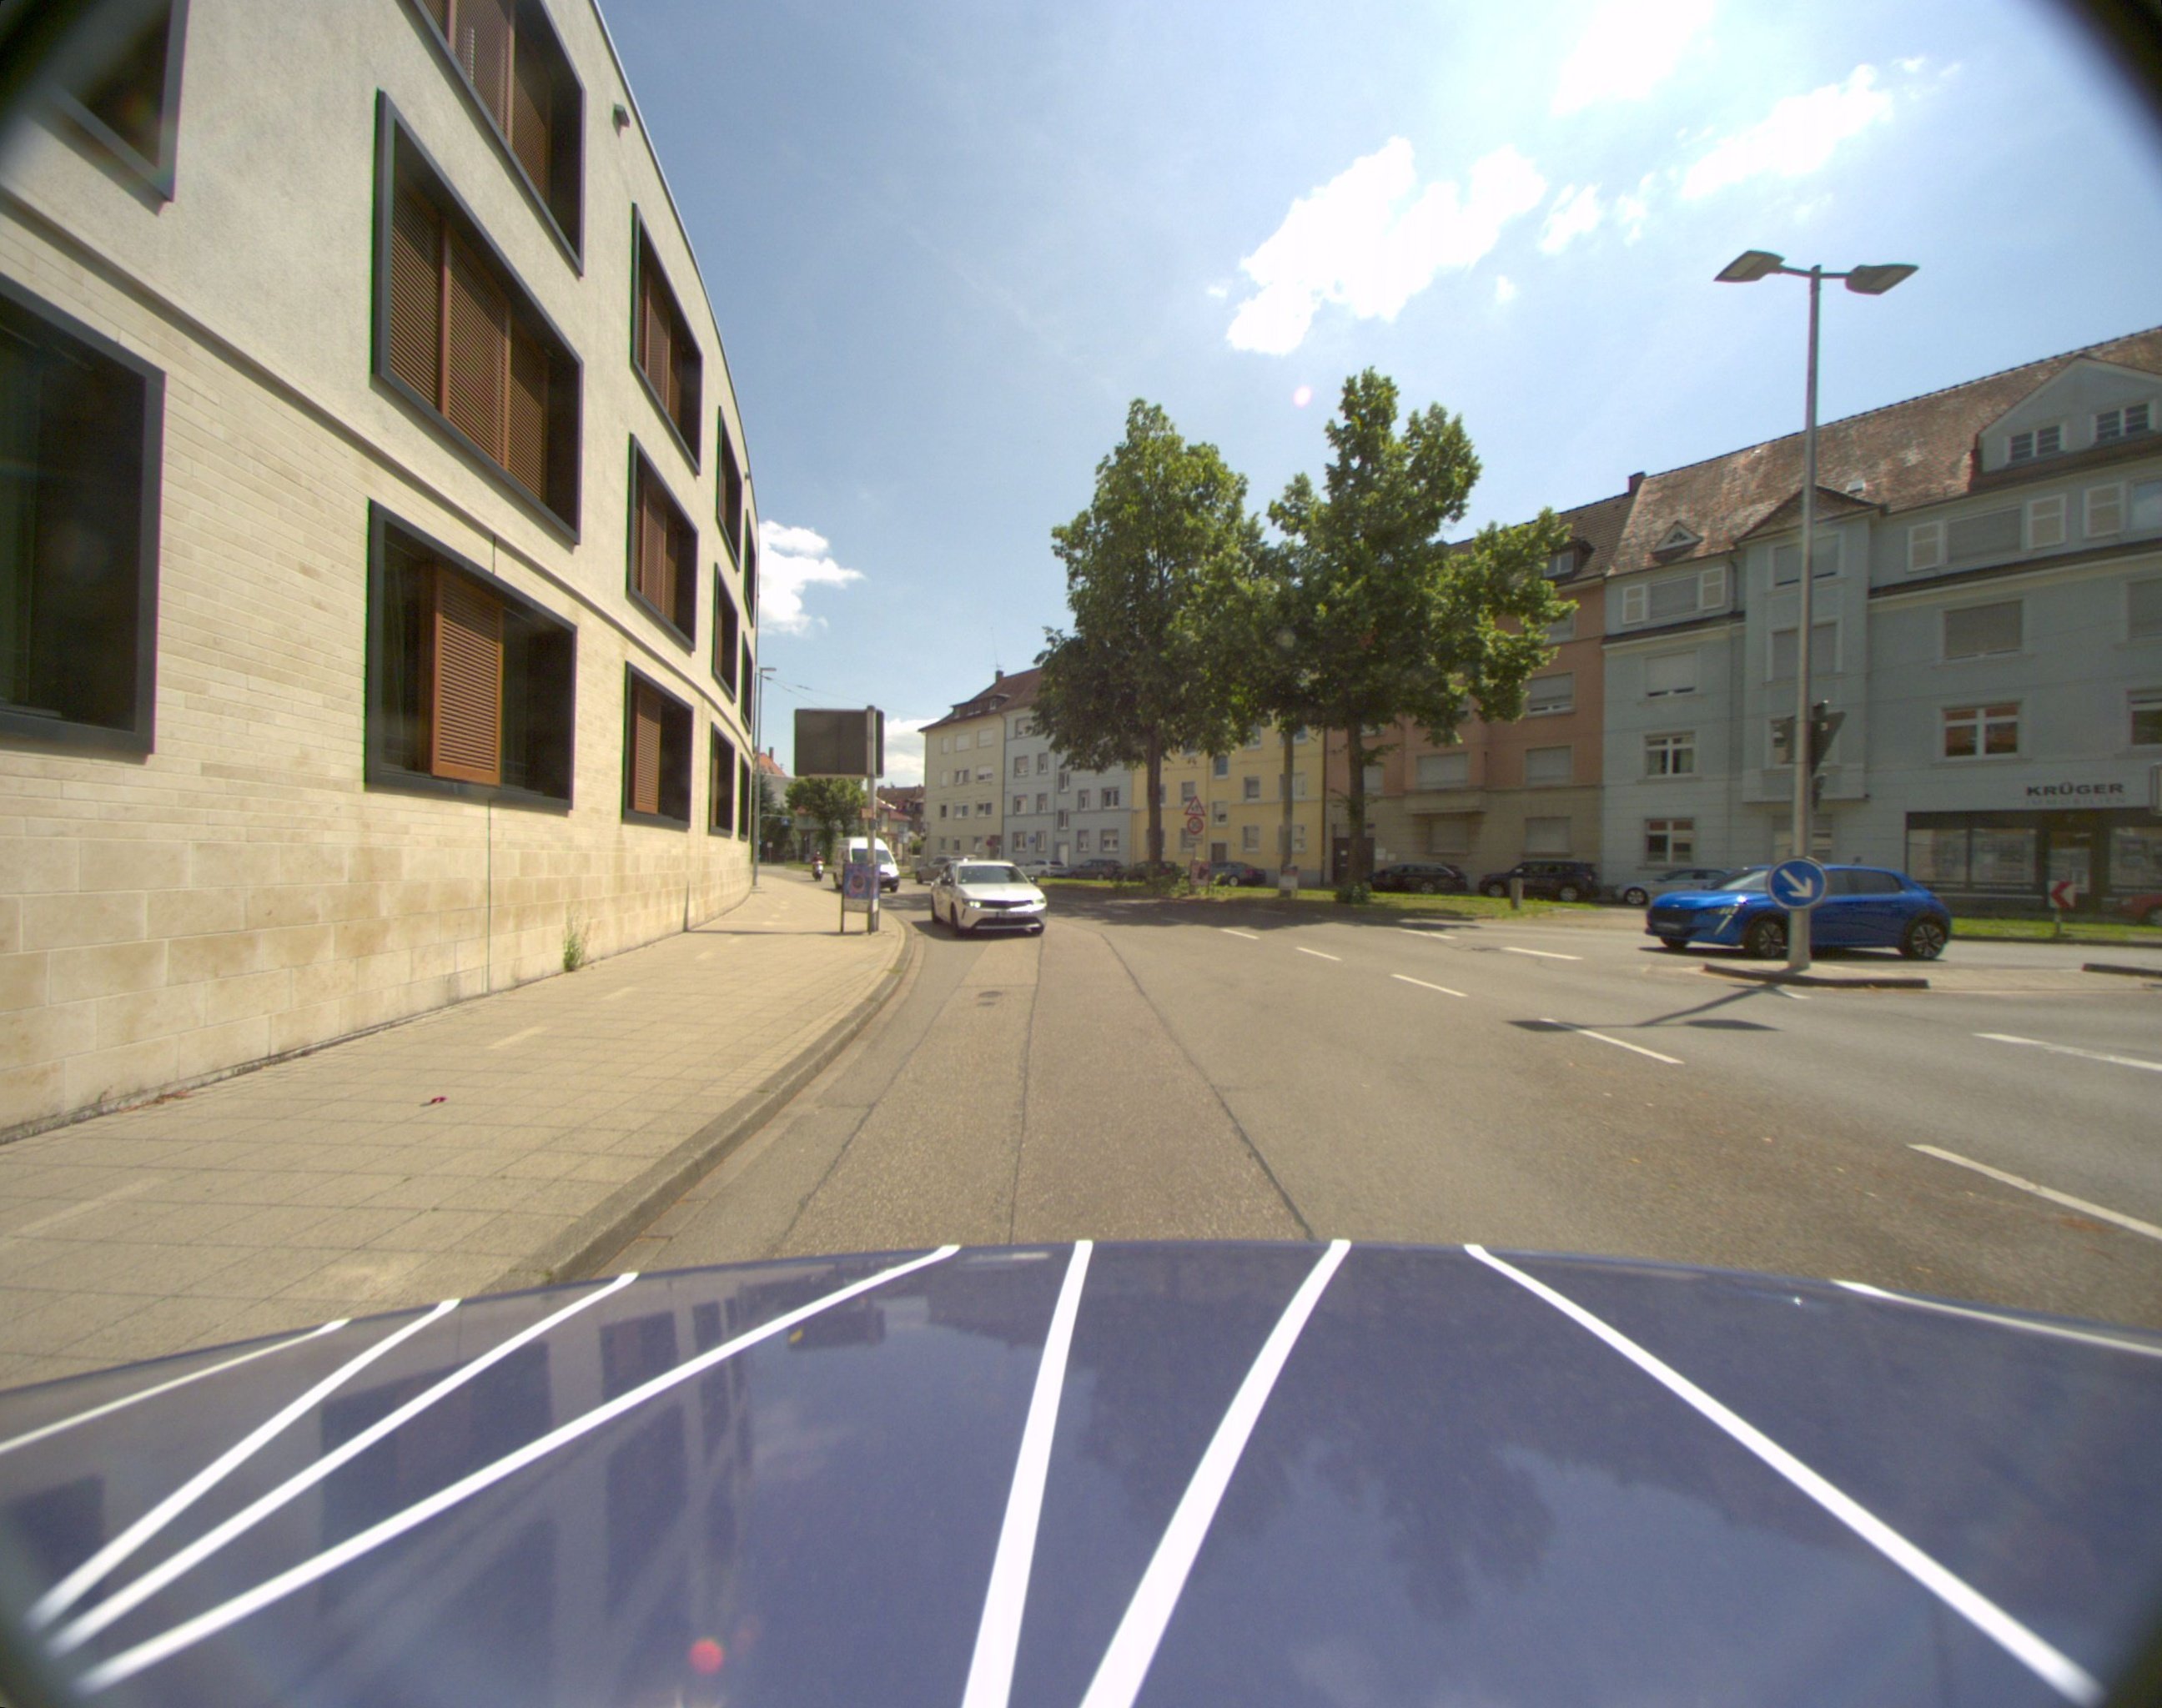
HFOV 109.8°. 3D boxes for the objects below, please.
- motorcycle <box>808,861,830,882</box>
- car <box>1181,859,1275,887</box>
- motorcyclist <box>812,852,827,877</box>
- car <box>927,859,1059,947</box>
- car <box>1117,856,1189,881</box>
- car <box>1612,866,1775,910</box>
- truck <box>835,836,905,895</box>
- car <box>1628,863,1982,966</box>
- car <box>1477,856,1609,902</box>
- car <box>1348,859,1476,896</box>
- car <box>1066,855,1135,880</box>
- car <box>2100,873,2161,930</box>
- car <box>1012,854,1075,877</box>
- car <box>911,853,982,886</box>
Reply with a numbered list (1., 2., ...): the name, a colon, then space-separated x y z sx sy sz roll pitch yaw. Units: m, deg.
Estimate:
1. motorcycle: -14.182 0.921 41.109 1.058 1.073 2.612 -1 0 -20
2. car: 7.968 1.024 41.586 1.938 1.389 4.849 3 -2 -41
3. motorcyclist: -14.094 0.548 40.883 0.736 1.329 1.169 -1 1 -20
4. car: -1.987 0.904 15.905 1.804 1.458 4.163 -1 1 -20
5. car: 4.289 0.859 45.729 1.841 1.391 4.130 3 -1 -42
6. car: 21.502 1.169 26.807 1.817 1.348 4.238 3 -2 -42
7. truck: -8.814 0.386 31.407 2.024 2.236 5.396 1 1 -23
8. car: 11.311 0.895 12.074 3.998 1.483 1.815 0 0 -3
9. car: 18.330 0.970 30.284 1.847 1.675 4.130 3 -2 -42
10. car: 14.742 1.008 34.066 1.938 1.481 4.849 3 -2 -42
11. car: 1.218 0.854 49.486 1.938 1.496 4.313 3 -2 -44
12. car: 28.572 1.246 18.967 1.580 1.442 3.615 3 -2 -42
13. car: -2.652 0.794 53.198 1.939 1.442 4.363 4 -3 -44
14. car: -6.639 0.701 37.211 1.746 1.479 4.396 0 0 -34
